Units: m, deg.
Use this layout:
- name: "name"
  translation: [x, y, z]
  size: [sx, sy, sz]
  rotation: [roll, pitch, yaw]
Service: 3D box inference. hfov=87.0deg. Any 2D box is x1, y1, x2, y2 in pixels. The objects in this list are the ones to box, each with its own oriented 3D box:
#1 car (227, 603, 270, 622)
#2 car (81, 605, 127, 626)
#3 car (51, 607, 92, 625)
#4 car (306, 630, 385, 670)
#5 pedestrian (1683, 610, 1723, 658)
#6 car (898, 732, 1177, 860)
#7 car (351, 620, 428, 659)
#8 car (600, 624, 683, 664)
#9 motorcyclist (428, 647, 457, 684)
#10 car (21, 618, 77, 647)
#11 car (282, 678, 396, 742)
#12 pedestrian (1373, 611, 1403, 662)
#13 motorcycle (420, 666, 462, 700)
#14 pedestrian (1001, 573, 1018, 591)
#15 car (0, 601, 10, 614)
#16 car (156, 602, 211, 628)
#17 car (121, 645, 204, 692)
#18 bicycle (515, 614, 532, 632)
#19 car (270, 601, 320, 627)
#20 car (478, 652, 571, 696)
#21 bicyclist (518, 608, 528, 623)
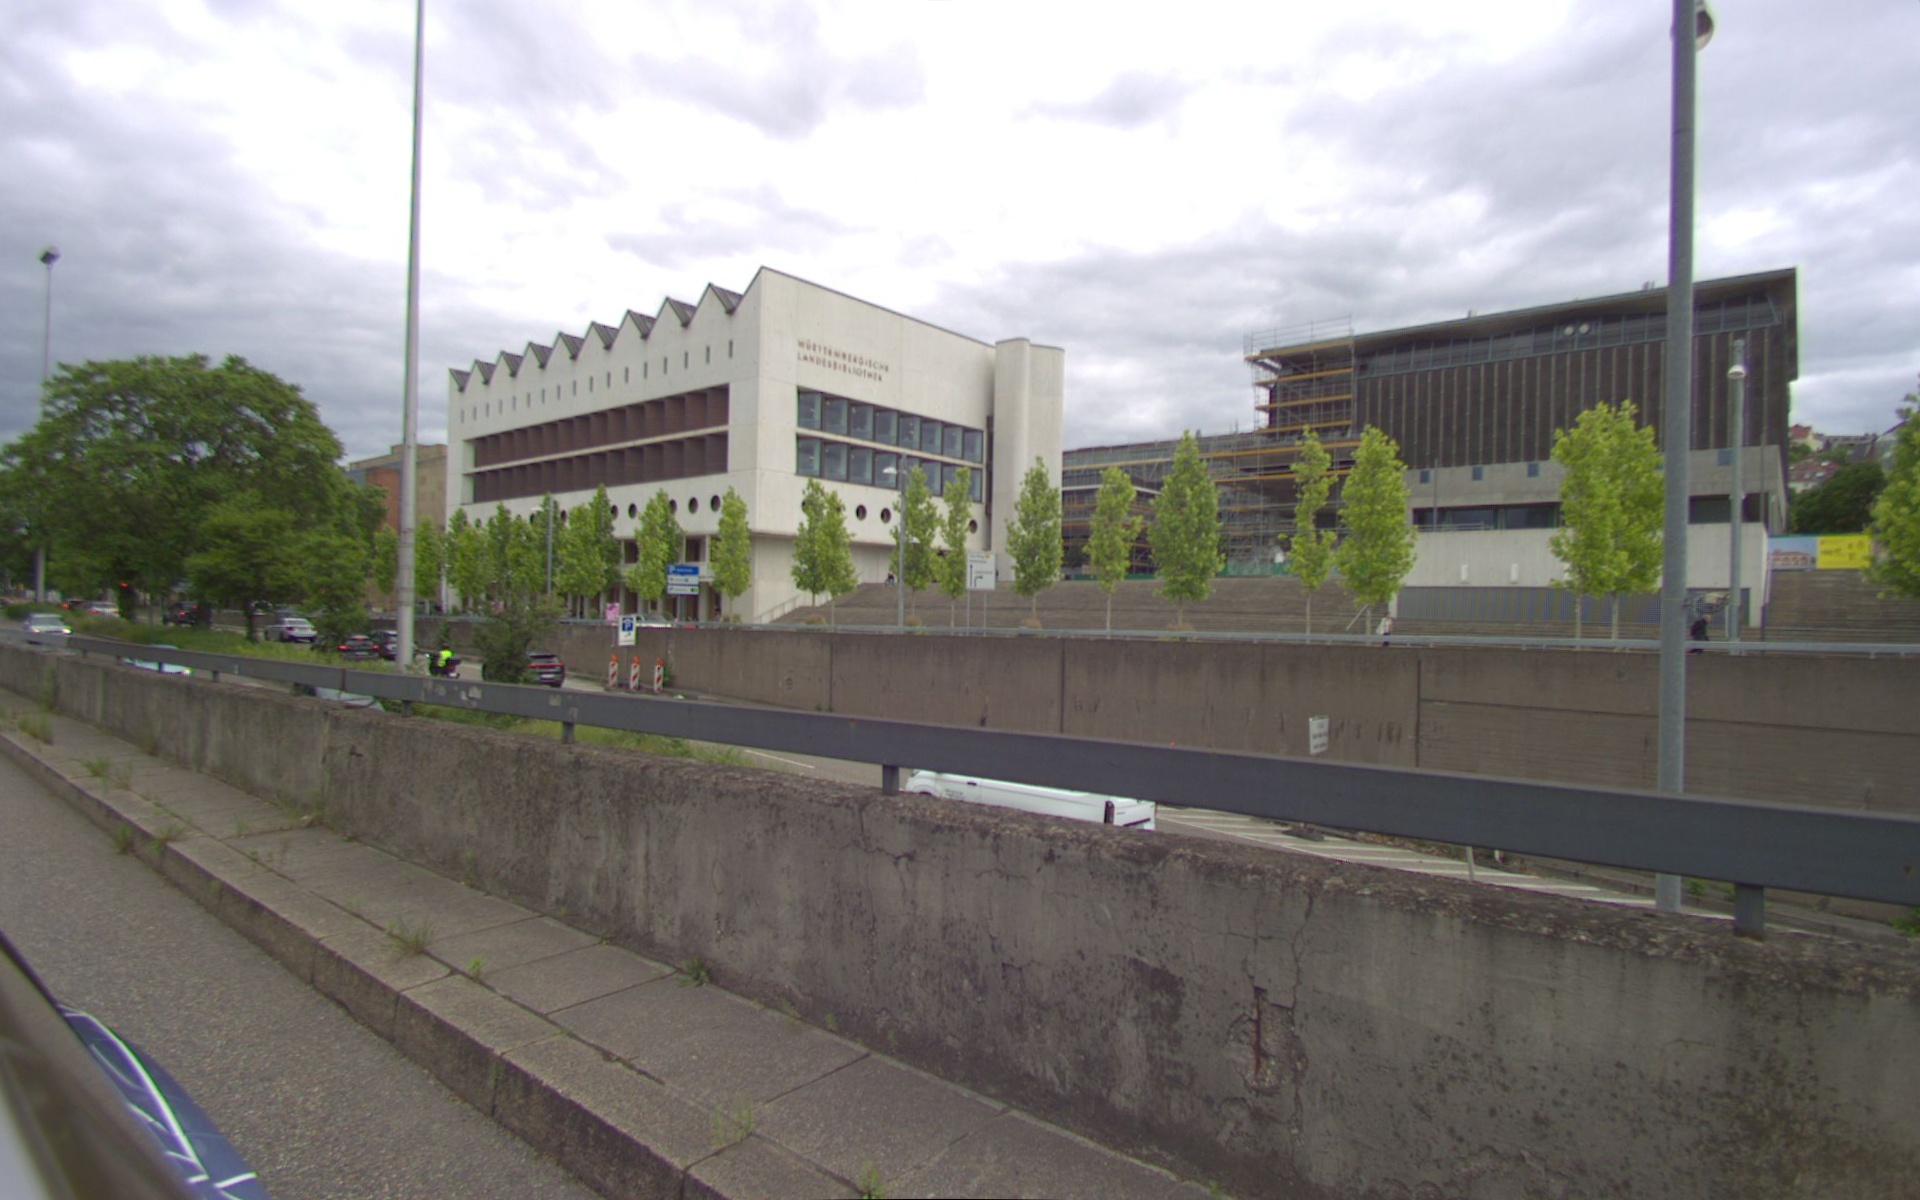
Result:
- name: "car"
  translation: [-64.756, 1.102, 92.115]
  size: [4.484, 1.640, 1.931]
  rotation: [0, 0, 38]
- name: "car"
  translation: [-64.747, 1.165, 76.526]
  size: [3.998, 1.409, 1.973]
  rotation: [0, -4, 41]
- name: "car"
  translation: [-74.369, 1.354, 84.668]
  size: [3.998, 1.409, 1.973]
  rotation: [0, -4, 41]
- name: "car"
  translation: [-27.977, 2.260, 46.018]
  size: [4.144, 1.500, 1.757]
  rotation: [3, 0, 40]
- name: "pedestrian"
  translation: [25.953, 1.197, 35.355]
  size: [0.728, 1.655, 0.795]
  rotation: [0, -3, -22]
- name: "car"
  translation: [1.423, 3.744, 20.058]
  size: [5.245, 1.651, 1.974]
  rotation: [2, -5, 40]
- name: "car"
  translation: [-28.882, 1.981, 51.163]
  size: [4.387, 1.624, 1.851]
  rotation: [4, 0, 39]
- name: "car"
  translation: [-15.360, 2.105, 48.727]
  size: [3.998, 1.776, 1.973]
  rotation: [0, -4, 41]
- name: "motorcyclist"
  translation: [-20.304, 2.577, 39.723]
  size: [0.717, 1.362, 0.662]
  rotation: [3, -3, 40]
- name: "car"
  translation: [-47.765, 1.667, 53.056]
  size: [4.089, 1.425, 1.636]
  rotation: [0, -1, 40]
- name: "car"
  translation: [-17.533, 3.037, 28.507]
  size: [4.089, 1.425, 1.539]
  rotation: [0, -1, 40]
- name: "pedestrian"
  translation: [17.310, 1.463, 40.960]
  size: [0.728, 2.029, 0.795]
  rotation: [1, -3, -32]
- name: "motorcycle"
  translation: [-20.338, 3.246, 39.661]
  size: [2.050, 1.106, 0.678]
  rotation: [3, -2, 41]
- name: "pedestrian"
  translation: [3.262, -1.207, 66.926]
  size: [0.767, 0.950, 0.718]
  rotation: [3, 22, 34]
- name: "car"
  translation: [-109.681, 0.879, 115.469]
  size: [3.473, 1.448, 1.481]
  rotation: [1, 1, 42]
- name: "car"
  translation: [-56.454, 1.078, 73.584]
  size: [4.513, 1.657, 2.134]
  rotation: [2, -2, 39]
- name: "car"
  translation: [-28.328, 2.391, 35.909]
  size: [4.089, 1.425, 1.539]
  rotation: [0, -1, 40]
- name: "bicycle"
  translation: [-33.211, 1.747, 76.987]
  size: [1.697, 1.282, 0.398]
  rotation: [0, 1, 39]
- name: "car"
  translation: [-48.665, 1.042, 74.032]
  size: [3.998, 1.776, 1.973]
  rotation: [0, -4, 41]
- name: "car"
  translation: [-17.680, 2.957, 41.027]
  size: [4.003, 1.338, 1.787]
  rotation: [4, 0, 40]
- name: "bicyclist"
  translation: [-33.245, 1.186, 77.002]
  size: [0.643, 1.169, 0.398]
  rotation: [0, 1, 39]
